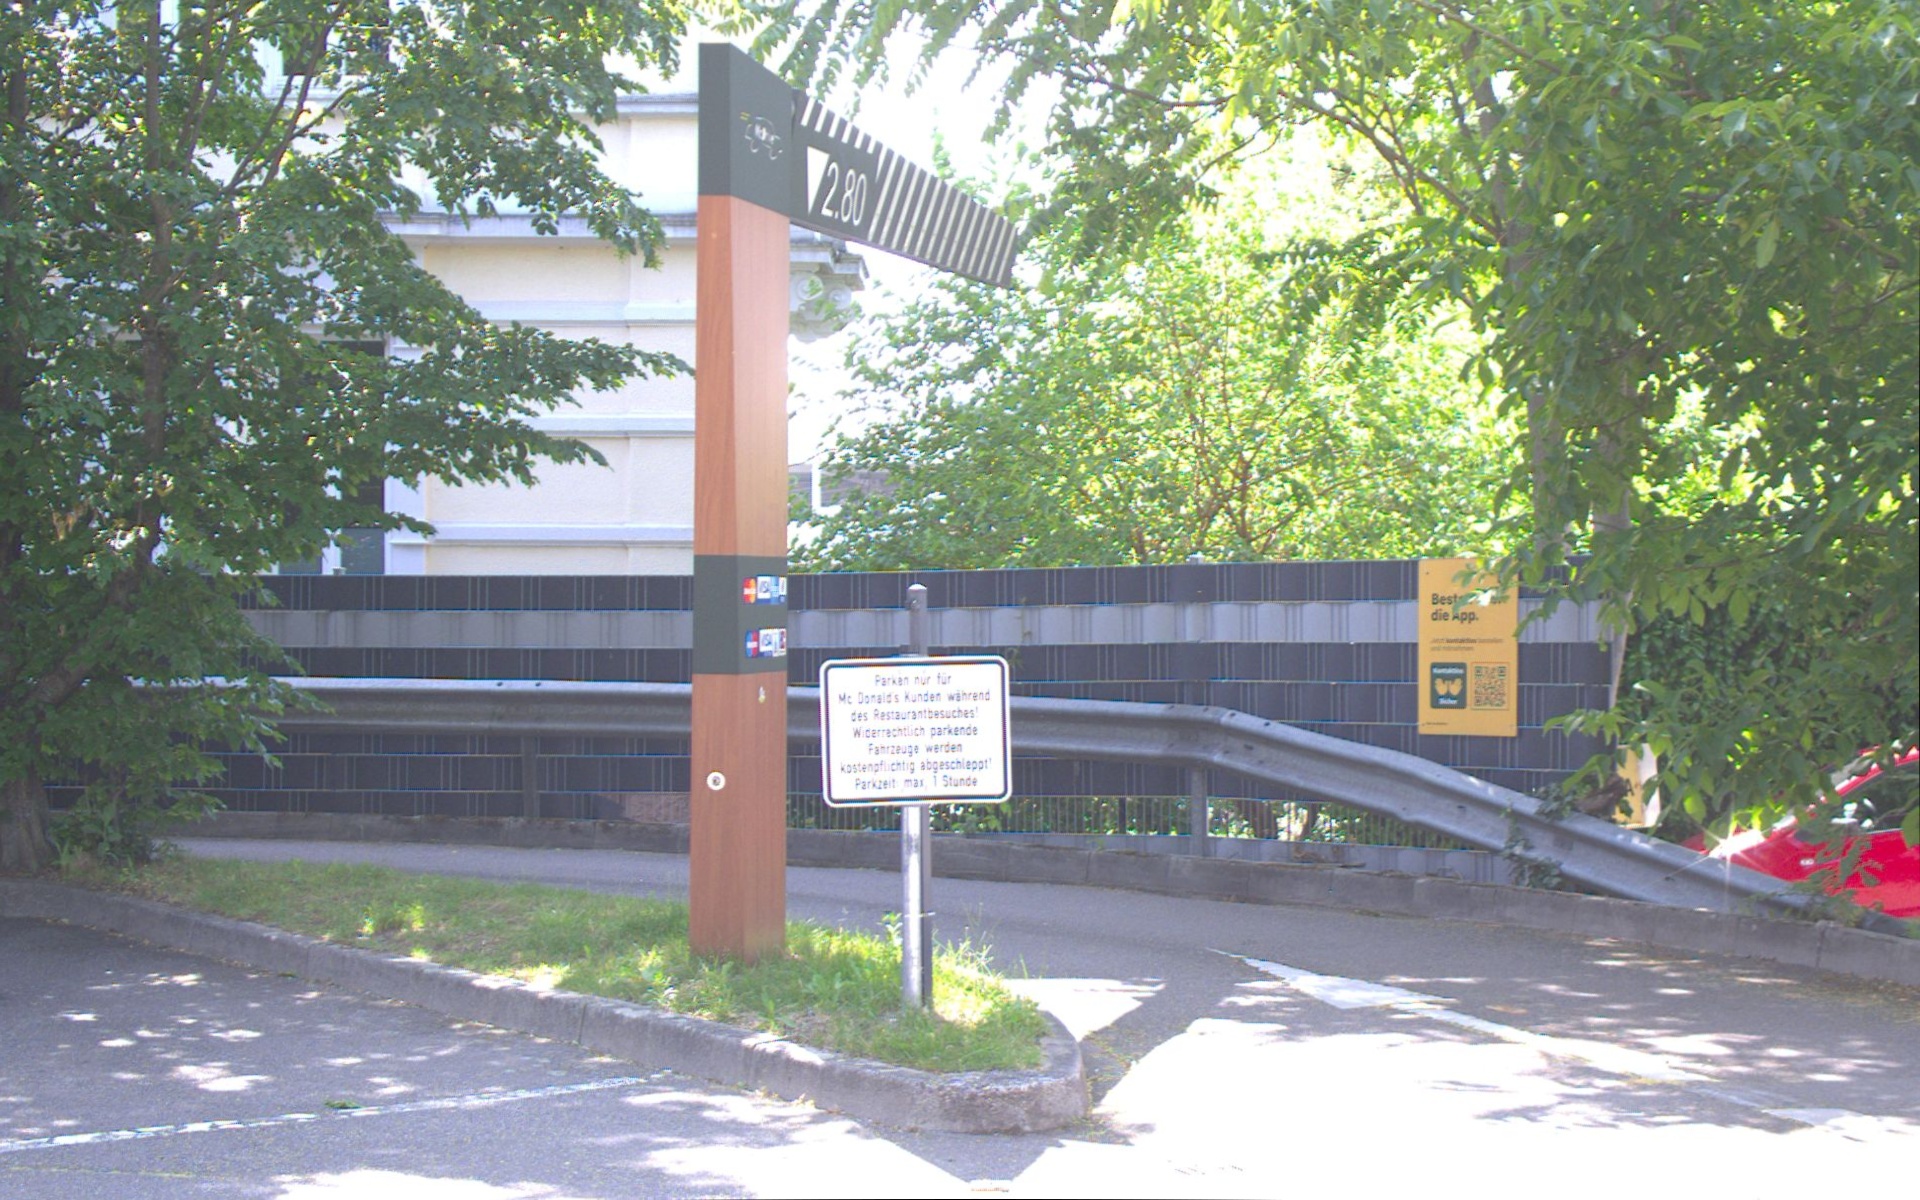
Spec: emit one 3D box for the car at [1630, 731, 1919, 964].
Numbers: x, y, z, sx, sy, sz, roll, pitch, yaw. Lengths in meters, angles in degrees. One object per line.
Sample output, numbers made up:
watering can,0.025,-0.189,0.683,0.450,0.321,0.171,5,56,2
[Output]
car,6.184,1.590,22.402,3.404,1.374,1.486,0,1,4
